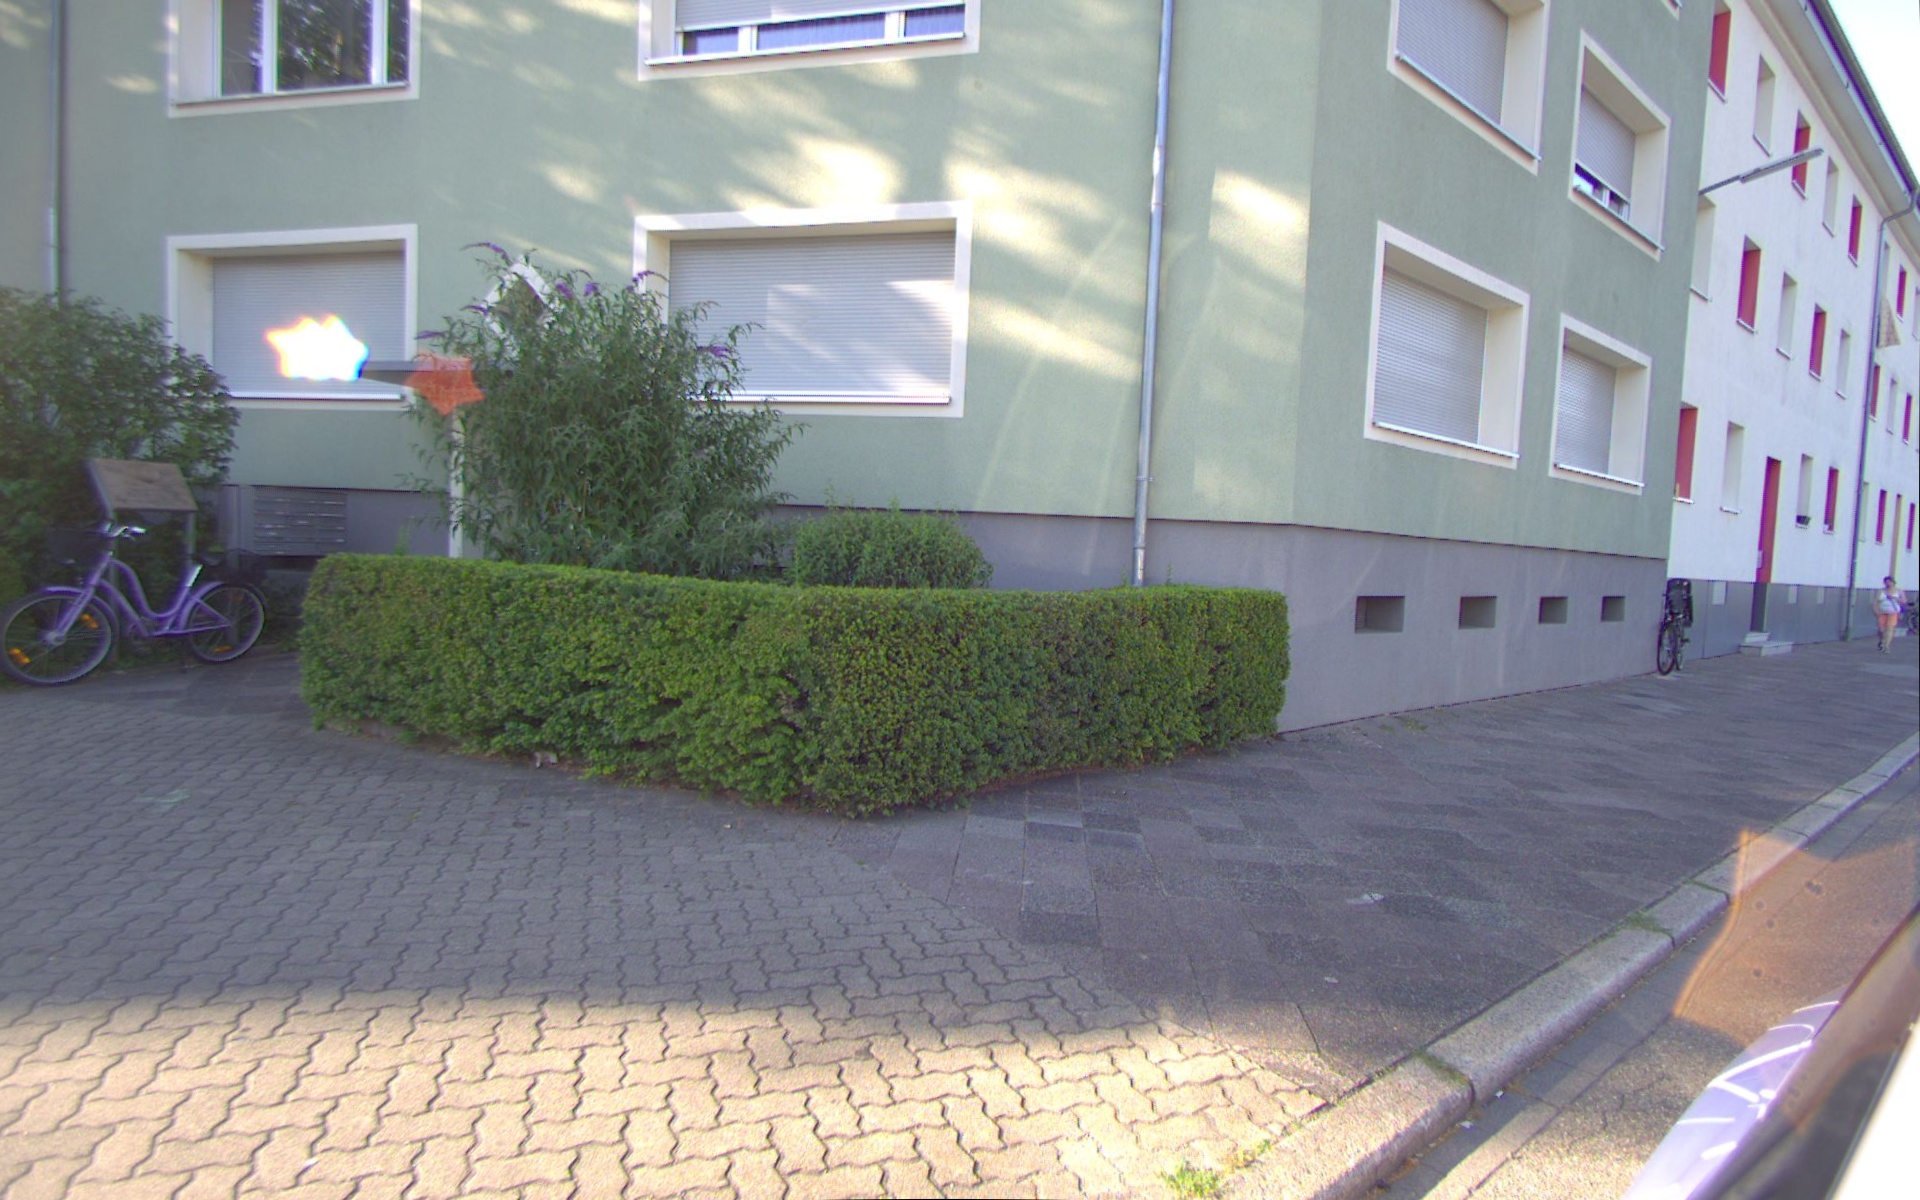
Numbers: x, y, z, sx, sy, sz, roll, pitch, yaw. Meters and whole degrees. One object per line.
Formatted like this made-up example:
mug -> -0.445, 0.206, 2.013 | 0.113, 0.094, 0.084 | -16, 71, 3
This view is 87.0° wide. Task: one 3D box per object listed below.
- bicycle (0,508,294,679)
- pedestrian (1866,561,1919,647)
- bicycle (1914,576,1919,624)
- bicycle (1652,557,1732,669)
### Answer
bicycle -> -5.911, -0.090, 7.285 | 0.515, 1.069, 1.920 | 3, 3, 22
pedestrian -> 19.835, 0.061, 21.400 | 0.933, 1.727, 0.787 | 0, 4, -41
bicycle -> 29.430, 0.003, 30.734 | 1.843, 1.429, 0.517 | -1, 4, -44
bicycle -> 10.131, 0.154, 13.986 | 1.843, 1.429, 0.517 | -1, 4, -44
